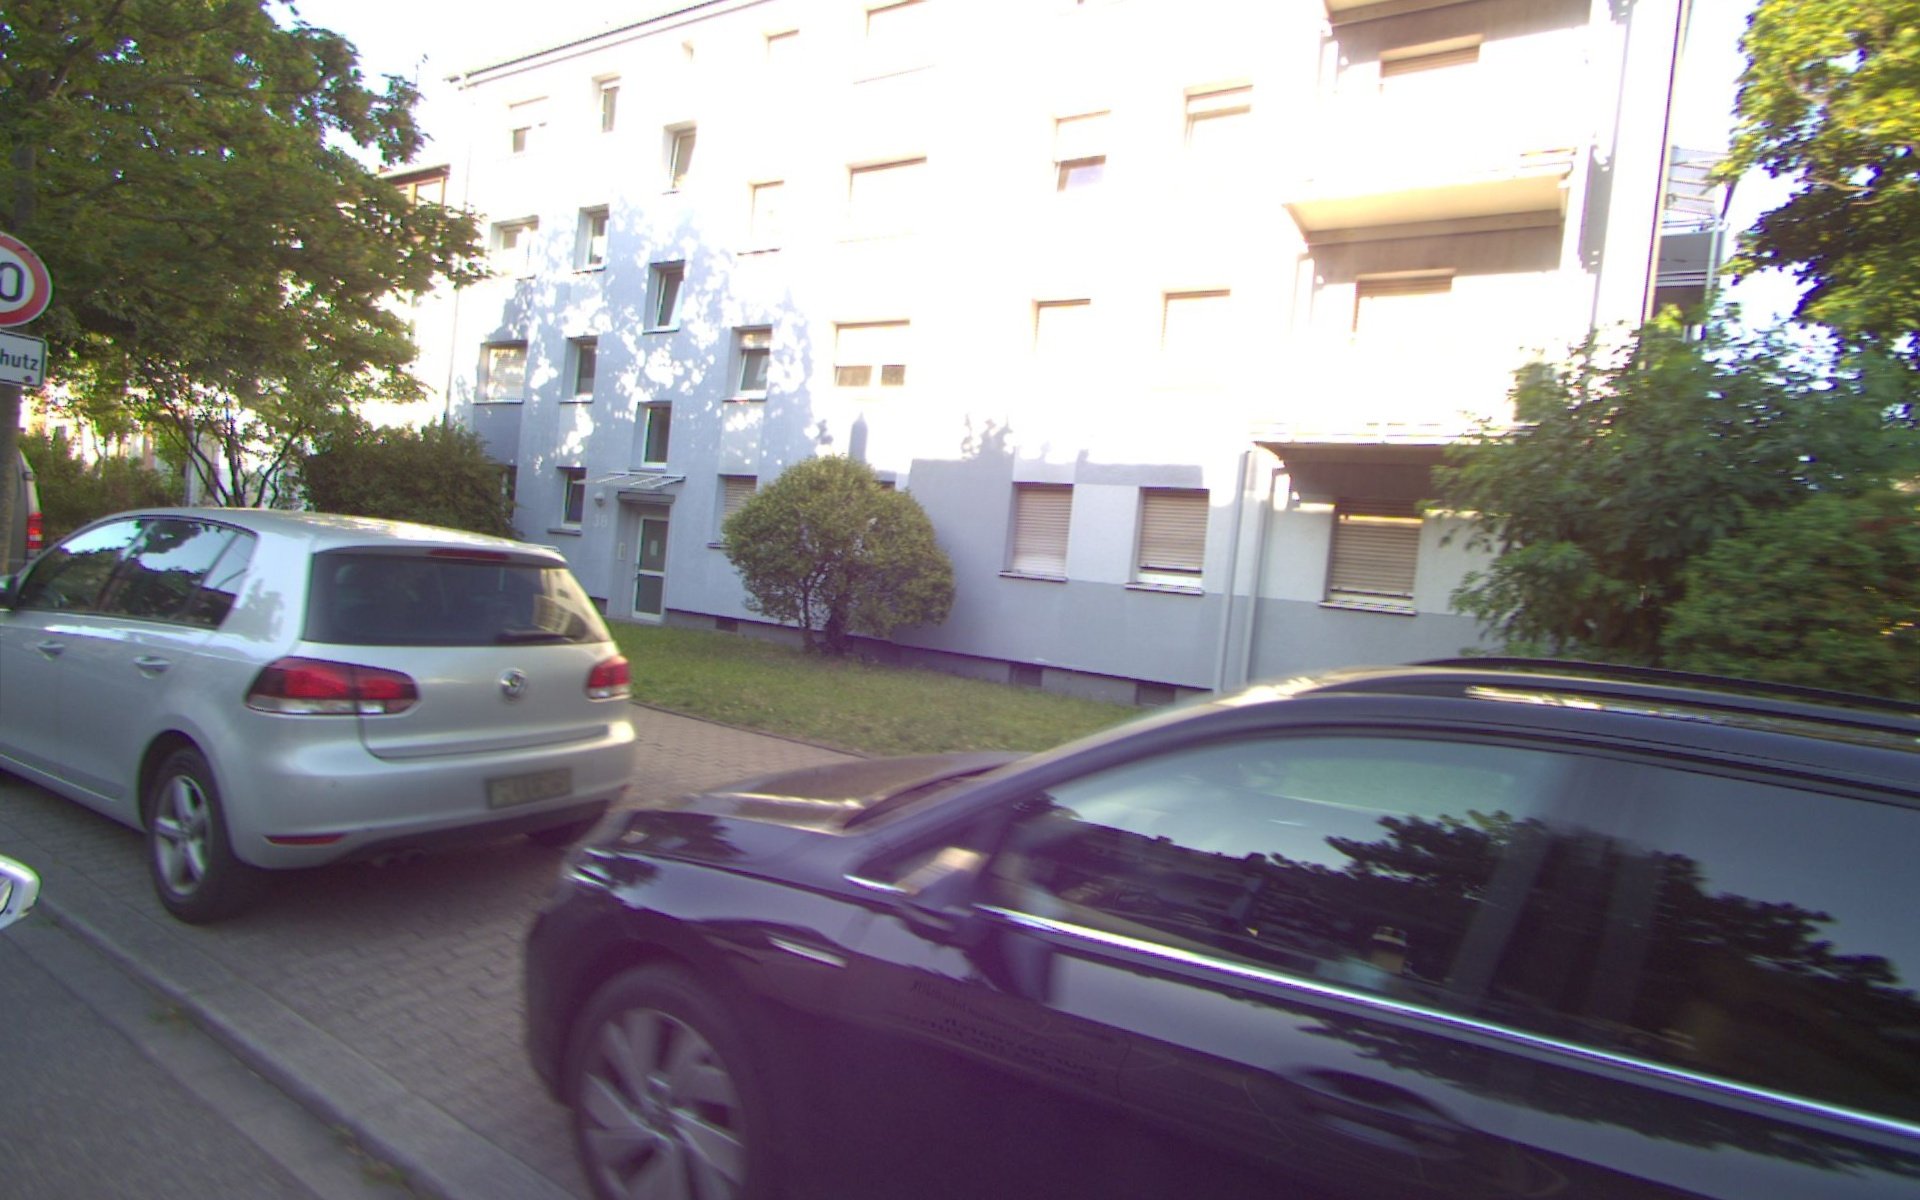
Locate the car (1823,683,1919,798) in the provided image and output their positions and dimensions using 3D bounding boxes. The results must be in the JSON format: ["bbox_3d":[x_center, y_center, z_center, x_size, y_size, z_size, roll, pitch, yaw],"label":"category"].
[{"bbox_3d":[17.957,2.648,18.921,1.730,1.902,4.245,7,-1,31],"label":"car"}]

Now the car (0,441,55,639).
[{"bbox_3d":[-11.814,-0.866,10.661,5.542,1.884,1.917,7,1,34],"label":"car"}]

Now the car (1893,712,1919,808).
[{"bbox_3d":[15.287,2.517,14.498,1.701,1.479,4.165,7,-1,31],"label":"car"}]

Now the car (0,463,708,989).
[{"bbox_3d":[-3.400,0.297,4.876,4.035,1.576,1.757,6,-1,30],"label":"car"}]

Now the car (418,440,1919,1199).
[{"bbox_3d":[0.905,0.710,2.157,4.183,1.707,1.756,7,0,34],"label":"car"}]
